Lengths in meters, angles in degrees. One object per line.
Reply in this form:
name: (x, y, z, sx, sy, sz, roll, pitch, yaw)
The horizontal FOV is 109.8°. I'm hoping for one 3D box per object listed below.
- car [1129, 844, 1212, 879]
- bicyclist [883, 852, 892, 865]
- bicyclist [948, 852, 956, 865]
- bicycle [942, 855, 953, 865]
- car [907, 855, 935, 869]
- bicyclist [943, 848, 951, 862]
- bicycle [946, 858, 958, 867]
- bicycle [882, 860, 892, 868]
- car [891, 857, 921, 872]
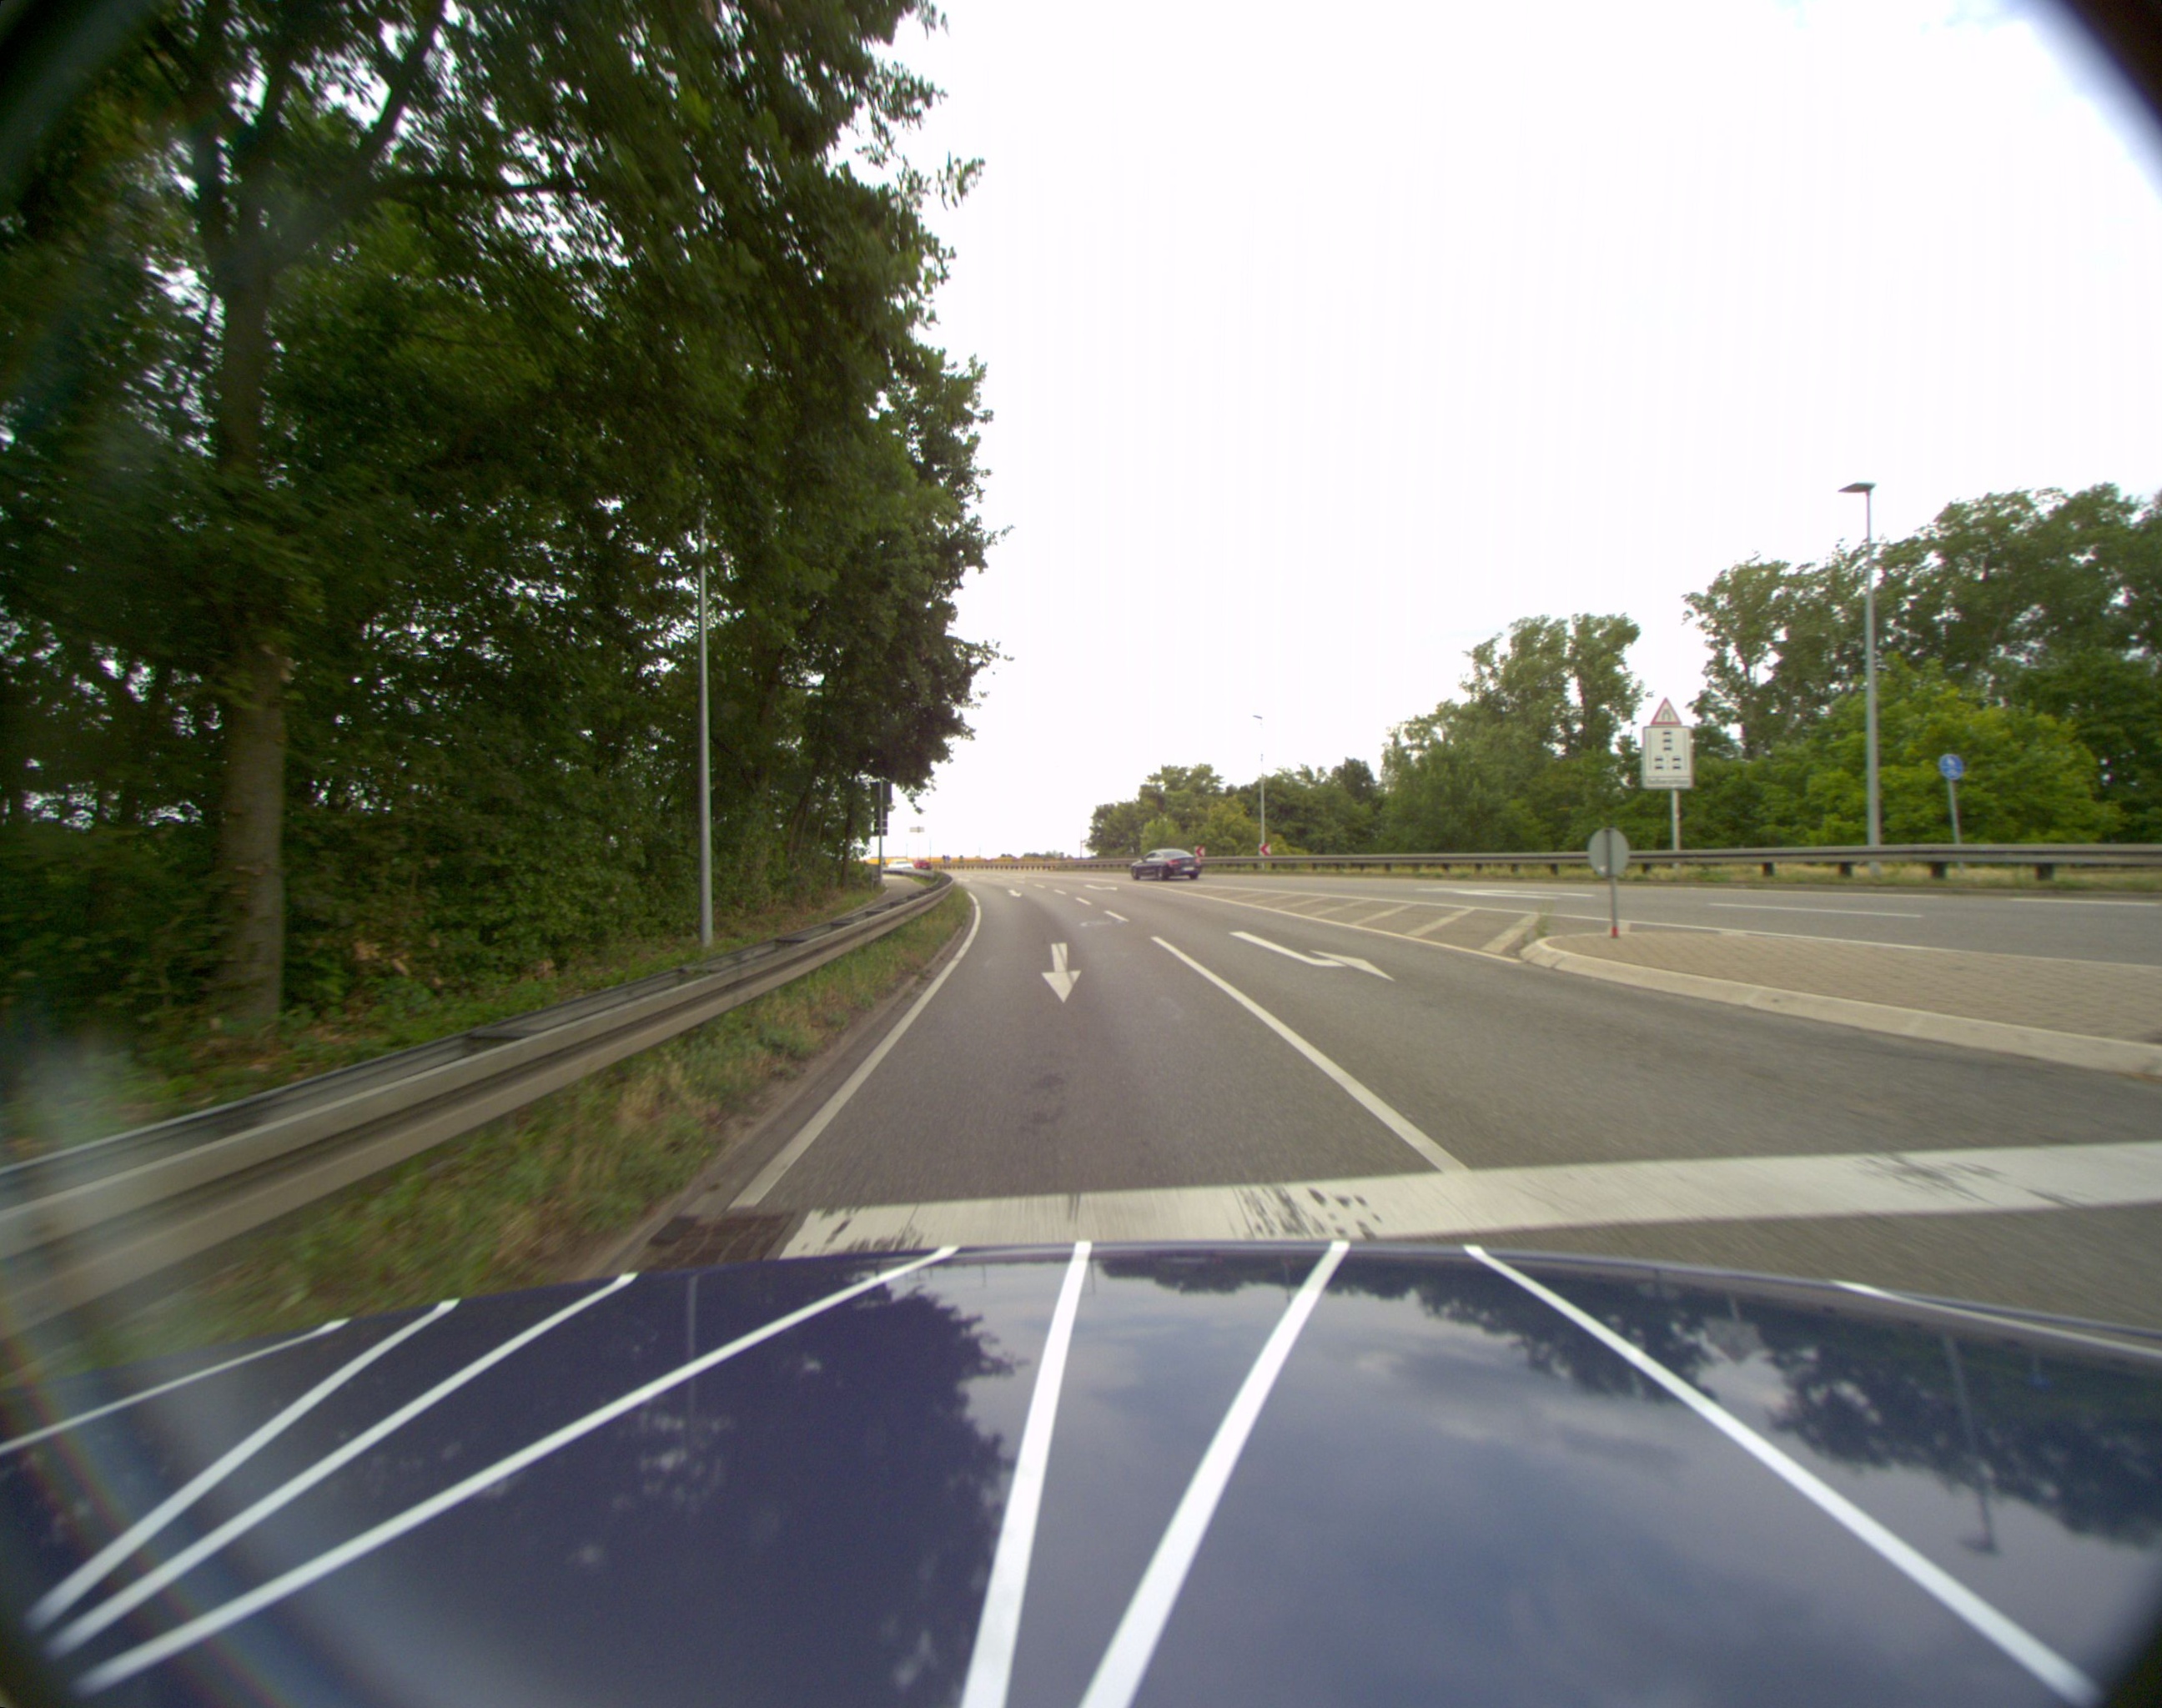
car: (3.994, 0.333, 34.897, 2.001, 1.447, 4.646, -2, 0, -18)
bicyclist: (-27.055, 0.584, 106.240, 0.853, 1.798, 0.794, -2, 1, -39)
bicyclist: (-15.051, 0.513, 88.495, 0.613, 1.531, 0.755, -3, 1, -42)
bicycle: (-16.193, 0.682, 92.015, 0.638, 1.167, 1.901, -2, 1, -32)
car: (-18.176, 0.888, 86.110, 1.804, 1.463, 4.625, -2, 0, -30)
bicyclist: (-16.178, 0.117, 91.941, 0.775, 1.622, 0.647, -2, 2, -29)
bicycle: (-15.060, 0.946, 88.473, 0.495, 1.039, 1.805, -2, 1, -41)
bicycle: (-27.089, 1.352, 106.213, 0.649, 1.061, 1.756, -1, 0, -39)
car: (-17.647, 1.026, 76.356, 1.942, 1.448, 3.877, 2, -1, -29)
